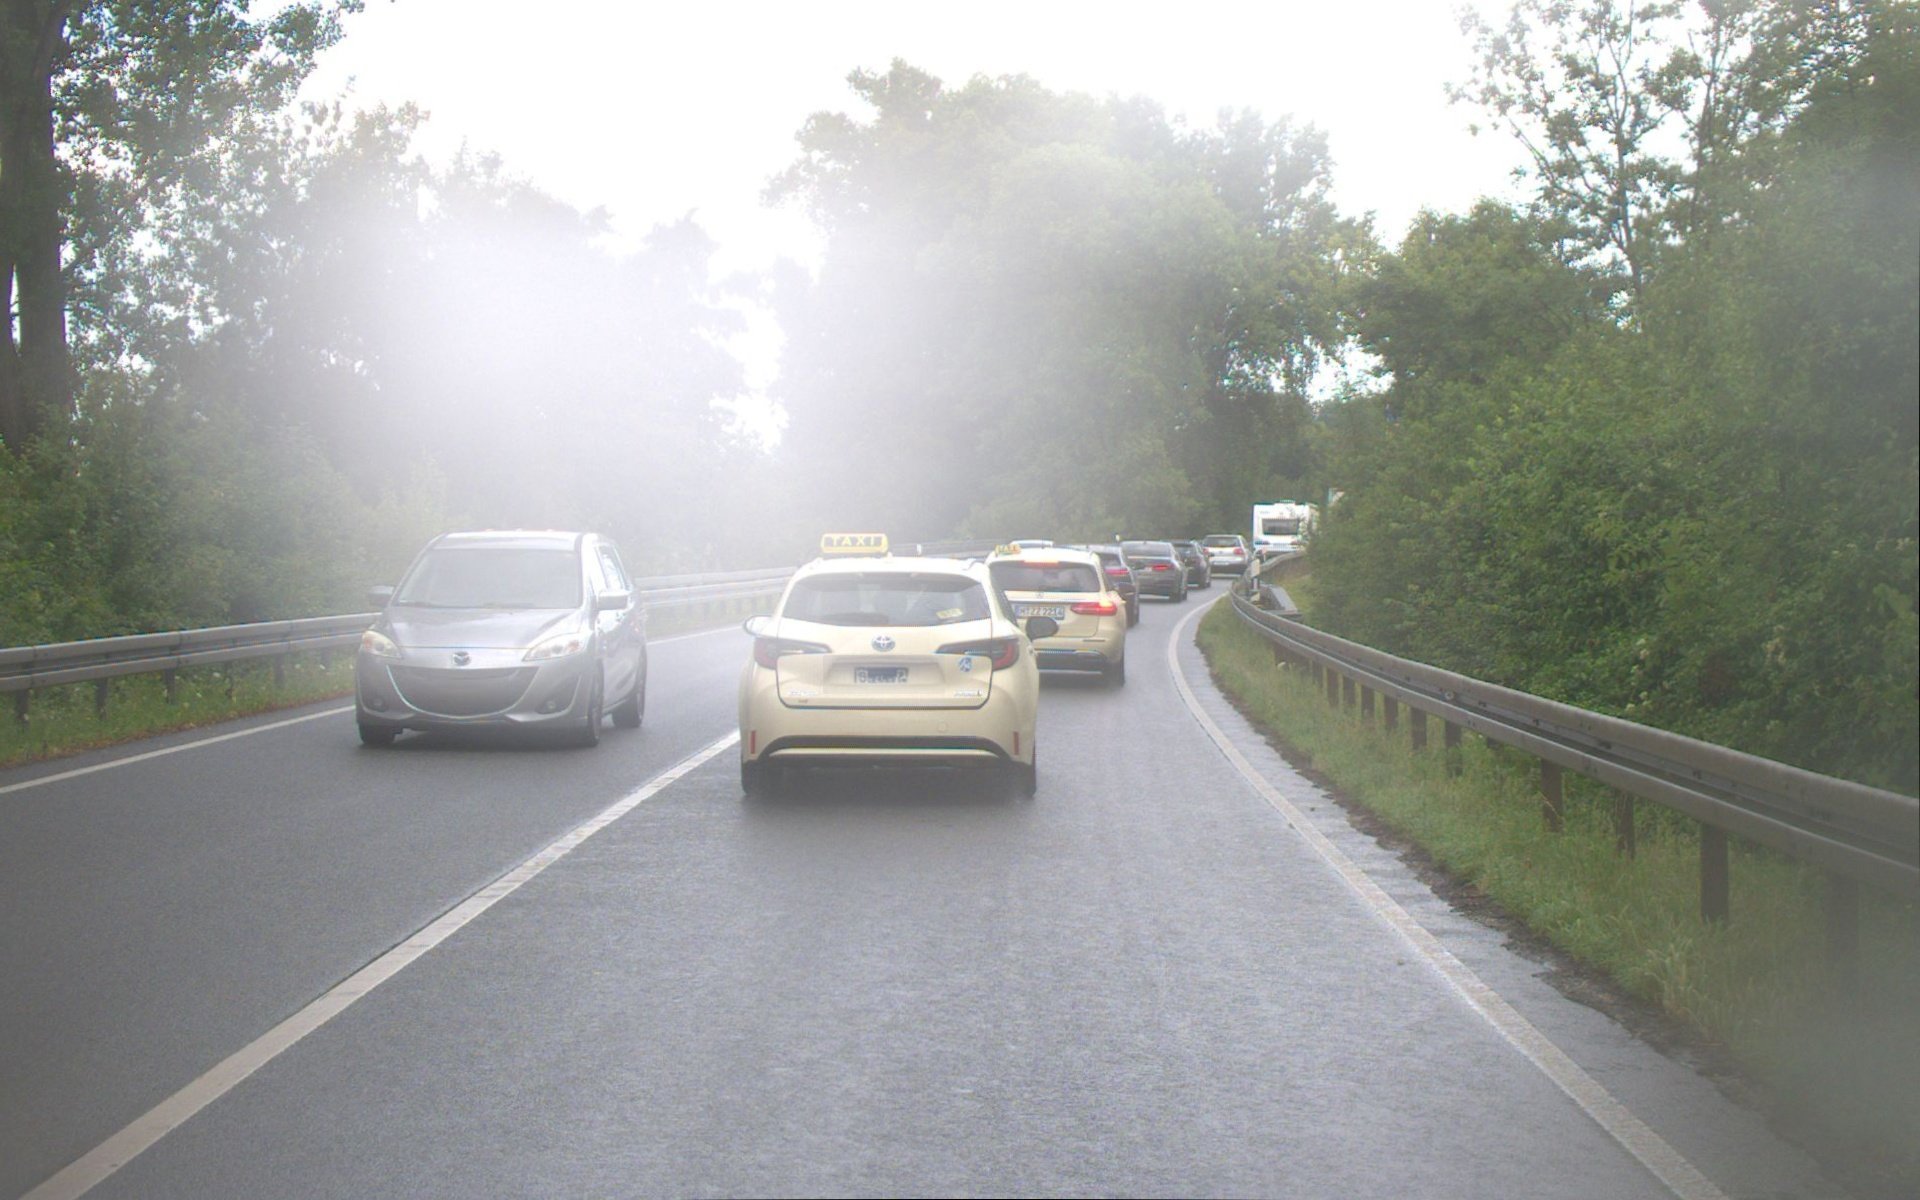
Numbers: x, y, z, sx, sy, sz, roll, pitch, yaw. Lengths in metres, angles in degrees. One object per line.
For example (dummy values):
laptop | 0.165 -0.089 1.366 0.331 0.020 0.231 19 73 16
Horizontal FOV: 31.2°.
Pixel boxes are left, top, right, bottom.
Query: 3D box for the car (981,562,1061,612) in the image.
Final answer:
car | 1.715 -0.350 95.918 1.813 1.350 3.999 0 0 7

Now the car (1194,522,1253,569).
car | 8.947 -1.839 116.589 1.770 1.541 3.813 0 0 8

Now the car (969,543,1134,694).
car | 1.059 0.191 38.097 1.668 1.575 3.891 0 0 4

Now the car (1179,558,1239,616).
car | 7.042 -0.357 96.907 1.616 1.607 3.621 0 0 5

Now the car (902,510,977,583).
car | -0.573 -1.495 98.090 1.993 2.007 4.000 0 0 2

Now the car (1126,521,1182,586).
car | 4.696 -1.110 83.046 1.167 1.541 2.603 0 0 7

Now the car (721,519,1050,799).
car | -0.370 0.332 21.613 1.834 1.575 4.156 0 0 2

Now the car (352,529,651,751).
car | -3.470 0.238 26.729 1.692 1.568 4.374 0 1 1

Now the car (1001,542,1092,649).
car | 1.270 -0.073 51.525 1.300 1.541 3.260 0 0 1

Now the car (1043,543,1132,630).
car | 2.368 -0.221 63.912 1.611 1.541 3.813 0 -1 2

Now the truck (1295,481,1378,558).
truck | 18.871 -3.997 171.779 3.109 3.668 6.995 0 0 15

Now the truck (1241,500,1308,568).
truck | 13.208 -2.745 144.630 2.550 2.704 7.534 0 0 3
